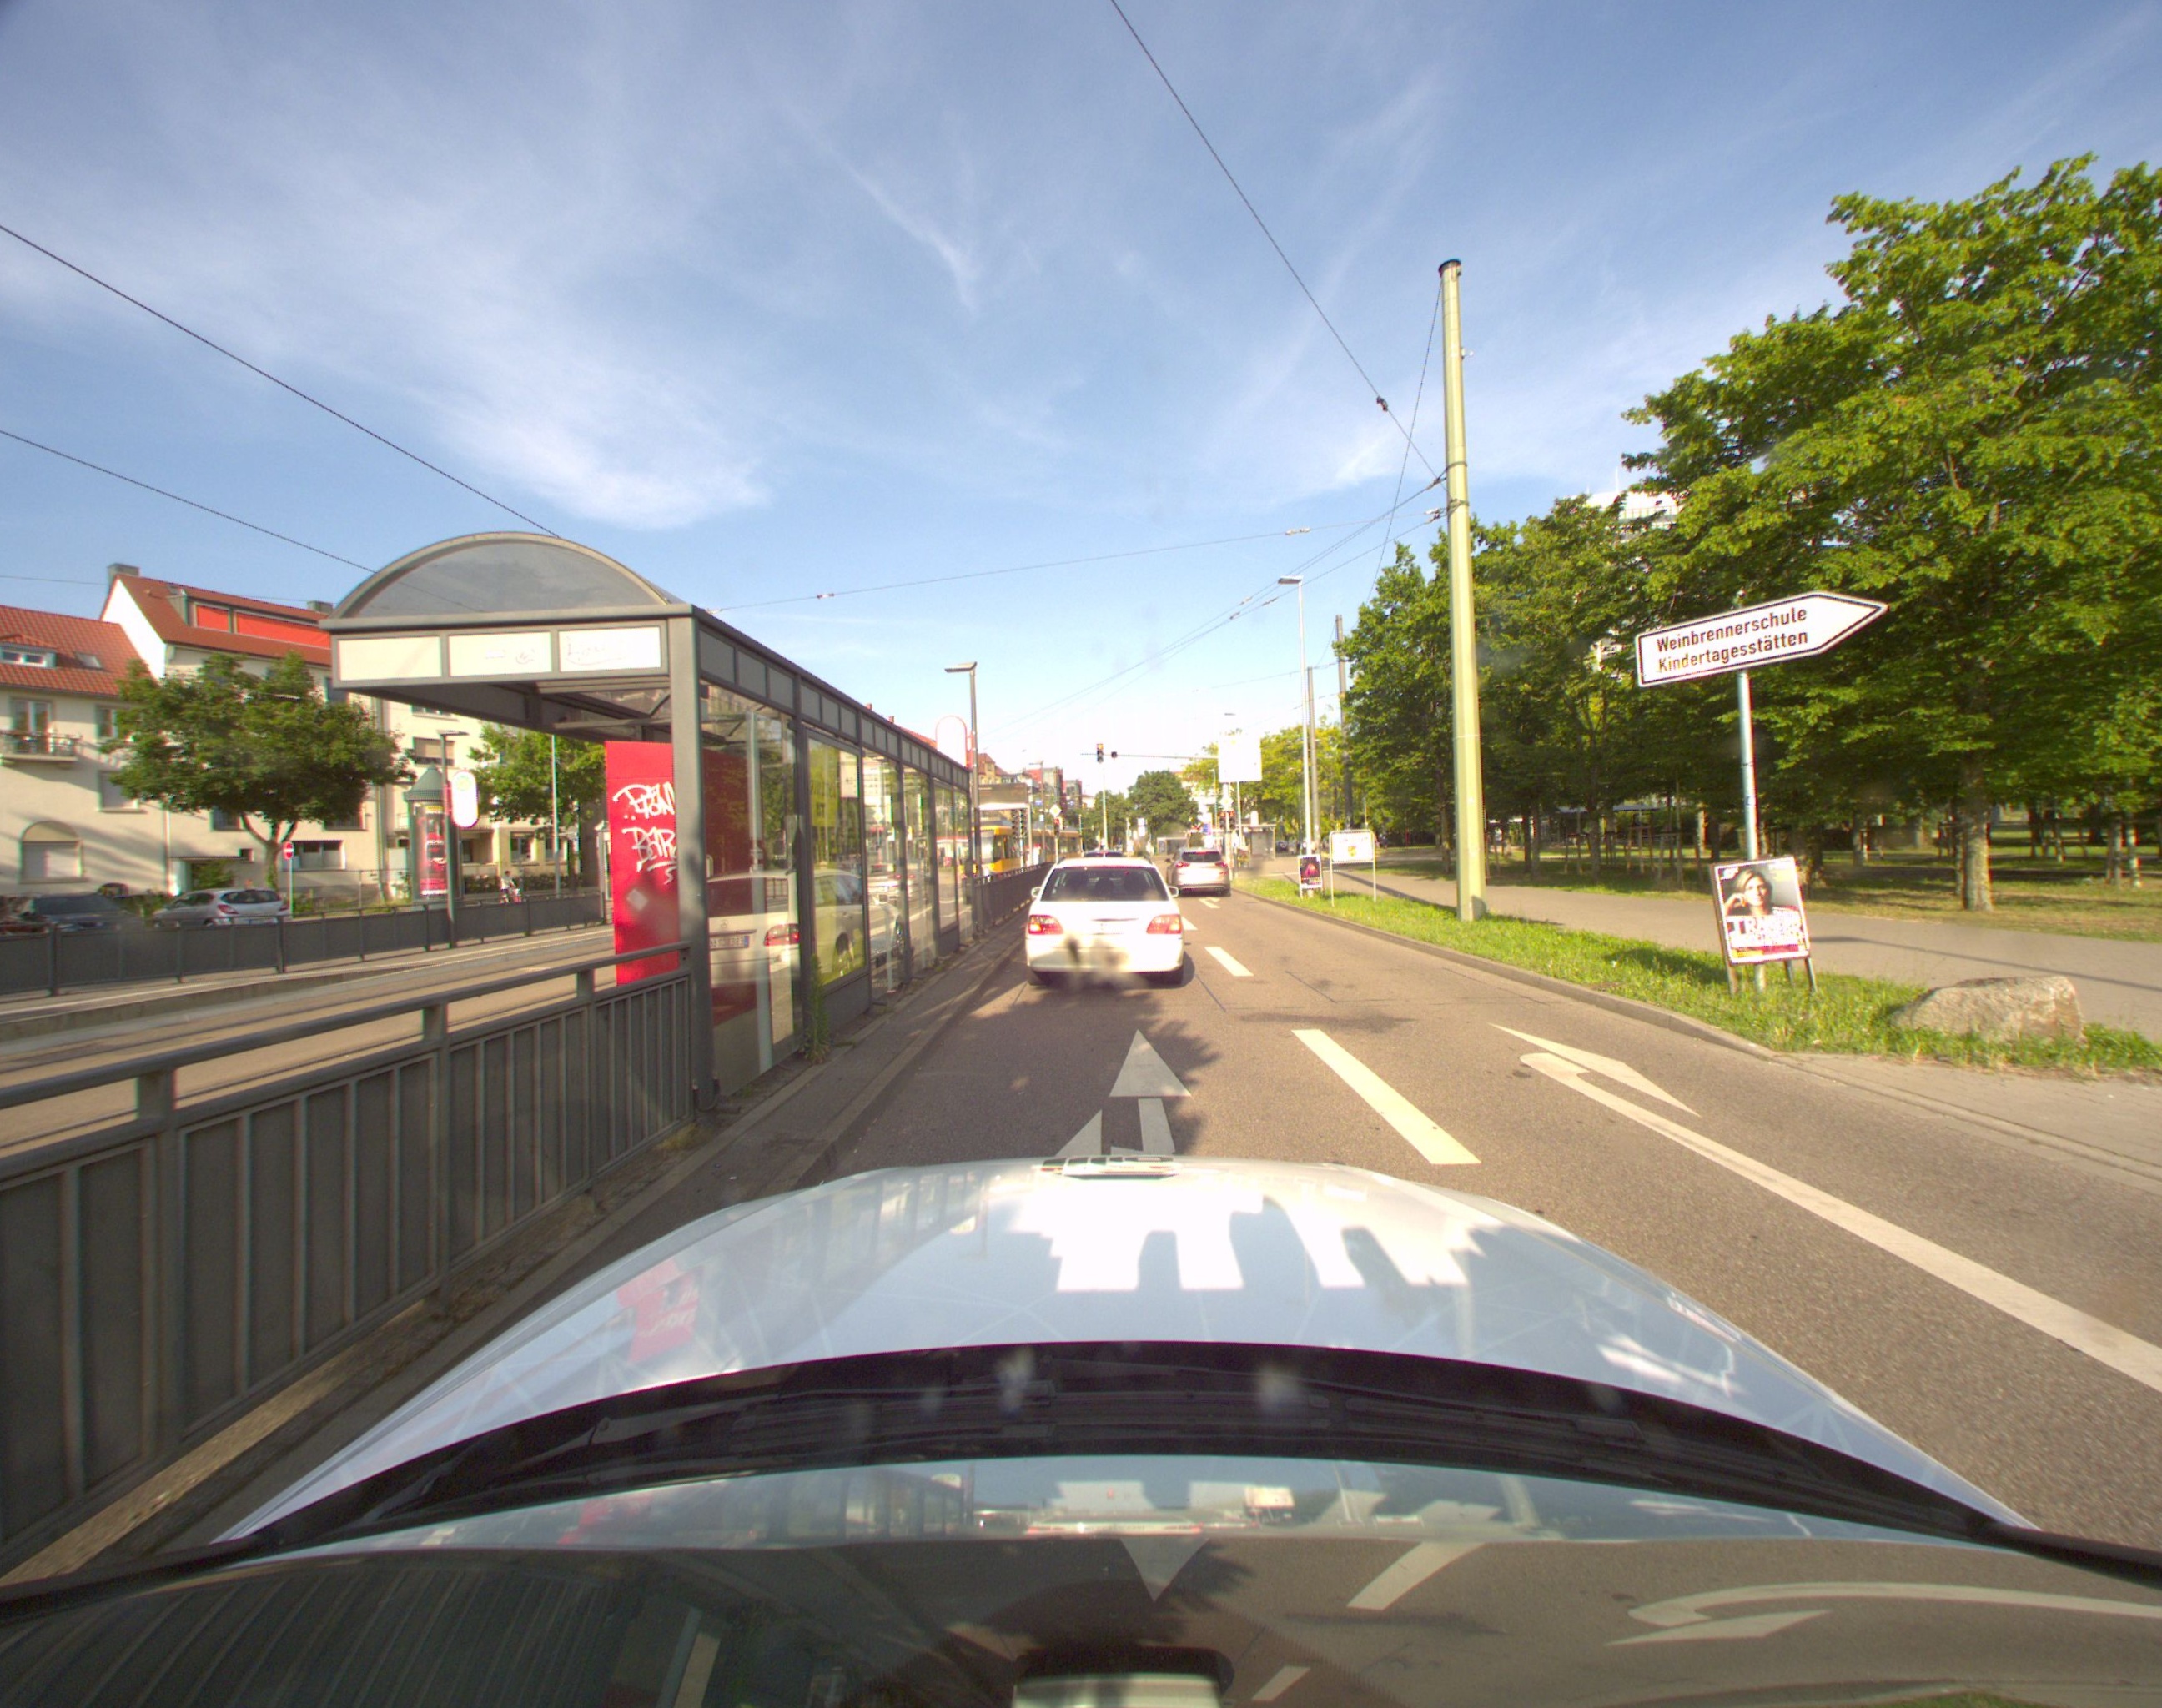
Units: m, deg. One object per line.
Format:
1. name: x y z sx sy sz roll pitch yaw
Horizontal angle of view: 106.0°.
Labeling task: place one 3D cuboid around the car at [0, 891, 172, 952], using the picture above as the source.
1. car: -26.959 1.778 21.751 3.956 1.398 2.009 -1 1 16

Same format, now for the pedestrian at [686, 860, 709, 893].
1. pedestrian: -21.361 1.247 45.374 0.886 1.753 0.743 -2 0 -9

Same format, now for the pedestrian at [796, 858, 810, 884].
1. pedestrian: -19.149 1.198 56.122 0.662 1.753 0.747 -2 0 5

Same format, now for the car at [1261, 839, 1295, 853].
1. car: 25.772 -1.008 106.566 3.950 1.651 2.012 -3 0 27

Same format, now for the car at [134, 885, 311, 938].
1. car: -25.879 1.706 24.601 3.957 1.398 2.009 -1 1 16

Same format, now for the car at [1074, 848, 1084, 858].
1. car: -0.392 -0.190 162.993 1.986 2.013 4.001 -3 0 1

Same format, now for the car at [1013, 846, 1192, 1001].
1. car: 0.330 0.695 10.322 1.751 1.503 4.004 -3 1 3

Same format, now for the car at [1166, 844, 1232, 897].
1. car: 3.928 0.502 27.655 2.023 1.605 4.007 -2 1 6

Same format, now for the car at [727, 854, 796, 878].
1. car: -24.782 0.903 63.282 2.183 1.628 4.744 -1 1 25

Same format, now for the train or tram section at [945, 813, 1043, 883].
1. train or tram section: -4.701 -0.384 47.735 2.835 3.479 13.225 -1 1 7

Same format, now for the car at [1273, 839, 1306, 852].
1. car: 29.114 -1.181 113.679 4.007 1.651 1.983 -3 0 -25

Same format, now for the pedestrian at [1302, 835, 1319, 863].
1. pedestrian: 13.702 -0.311 48.620 0.881 1.652 0.748 -2 0 9

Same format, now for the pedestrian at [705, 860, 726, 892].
1. pedestrian: -20.438 1.236 45.570 0.886 1.753 0.743 -2 0 -9

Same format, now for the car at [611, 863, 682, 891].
1. car: -29.160 1.542 54.693 3.954 1.750 2.010 -1 1 19

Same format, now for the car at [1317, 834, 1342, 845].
1. car: 42.524 -2.424 139.410 3.957 1.651 2.008 -3 0 15

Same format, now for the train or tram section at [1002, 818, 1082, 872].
1. train or tram section: -2.581 -0.692 60.610 2.831 3.479 13.239 -2 1 11

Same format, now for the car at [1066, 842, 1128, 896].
1. car: 0.640 0.452 28.321 1.778 1.689 4.007 -2 1 6
